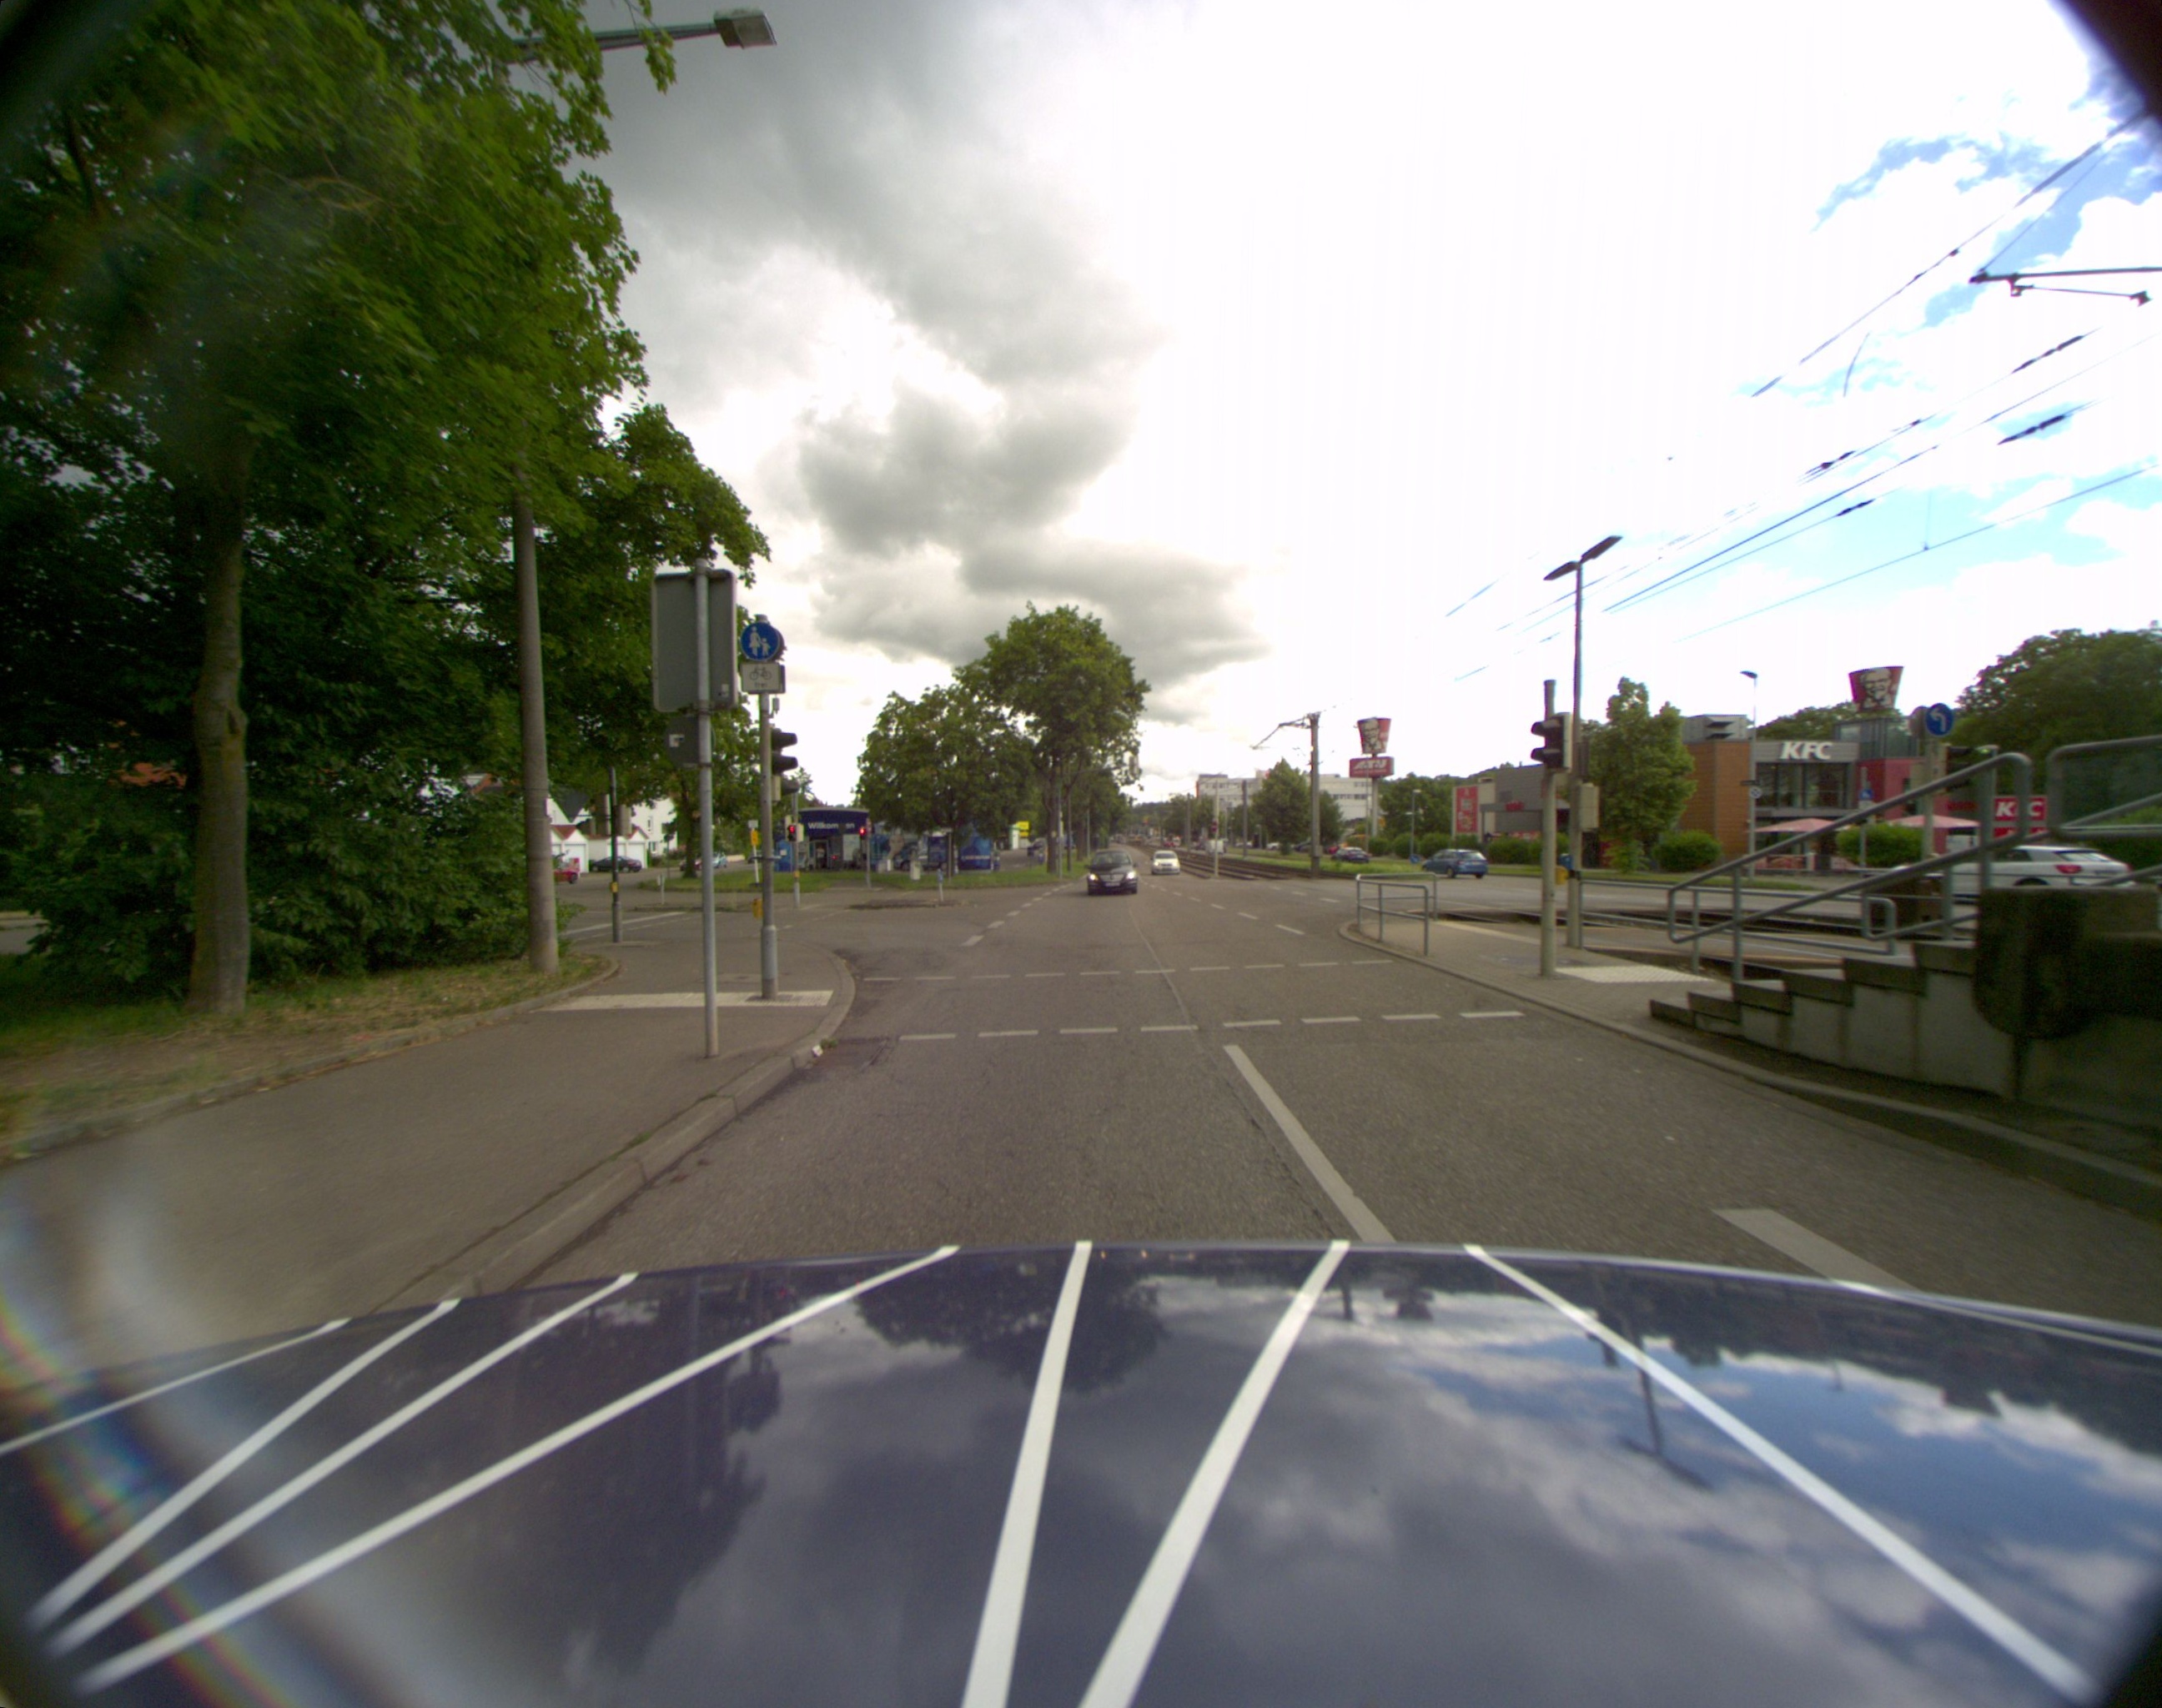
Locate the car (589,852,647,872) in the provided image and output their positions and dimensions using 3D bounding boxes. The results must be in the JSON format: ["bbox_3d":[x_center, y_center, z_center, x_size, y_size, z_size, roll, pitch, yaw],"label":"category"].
[{"bbox_3d":[-37.825,0.631,62.167,3.556,1.449,1.775,-3,2,3],"label":"car"}]

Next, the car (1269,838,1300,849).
[{"bbox_3d":[33.338,-1.746,124.386,4.481,1.498,1.795,-3,2,-1],"label":"car"}]

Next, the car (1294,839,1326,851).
[{"bbox_3d":[32.328,-1.230,107.360,3.996,1.498,1.937,-3,1,2],"label":"car"}]

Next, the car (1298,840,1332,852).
[{"bbox_3d":[31.487,-1.121,102.350,3.996,1.413,1.937,-3,1,2],"label":"car"}]

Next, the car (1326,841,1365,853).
[{"bbox_3d":[31.183,-0.802,89.663,3.996,1.229,2.000,-3,1,2],"label":"car"}]

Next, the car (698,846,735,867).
[{"bbox_3d":[-34.611,0.212,72.298,1.948,1.832,4.461,-3,1,-10],"label":"car"}]

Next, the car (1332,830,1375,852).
[{"bbox_3d":[30.298,-1.441,84.555,3.996,2.153,2.058,-3,2,2],"label":"car"}]

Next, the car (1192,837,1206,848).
[{"bbox_3d":[23.085,-2.257,148.757,1.999,2.002,4.245,0,1,-2],"label":"car"}]

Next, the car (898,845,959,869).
[{"bbox_3d":[-11.168,0.225,55.593,4.215,1.687,1.837,0,1,-17],"label":"car"}]

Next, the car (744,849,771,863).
[{"bbox_3d":[-38.128,0.201,89.673,2.000,1.456,3.996,-3,1,-9],"label":"car"}]

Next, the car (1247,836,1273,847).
[{"bbox_3d":[33.623,-2.314,142.890,4.354,1.908,2.000,-3,2,6],"label":"car"}]

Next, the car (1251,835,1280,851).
[{"bbox_3d":[32.345,-1.999,133.463,4.480,2.733,2.288,0,2,2],"label":"car"}]

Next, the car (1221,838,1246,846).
[{"bbox_3d":[30.331,-2.393,151.122,4.610,1.484,2.000,-3,1,6],"label":"car"}]

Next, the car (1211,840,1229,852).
[{"bbox_3d":[22.559,-1.312,123.449,1.999,2.002,4.105,0,1,-2],"label":"car"}]

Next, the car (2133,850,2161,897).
[{"bbox_3d":[34.246,0.579,22.211,3.885,1.400,1.848,0,1,9],"label":"car"}]

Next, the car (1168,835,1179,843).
[{"bbox_3d":[22.426,-3.658,184.474,1.999,2.002,3.998,1,1,-2],"label":"car"}]

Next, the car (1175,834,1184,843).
[{"bbox_3d":[27.078,-4.238,209.358,1.873,2.485,5.999,1,1,1],"label":"car"}]

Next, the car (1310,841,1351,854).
[{"bbox_3d":[31.150,-0.873,95.088,4.384,1.346,2.195,-3,1,2],"label":"car"}]

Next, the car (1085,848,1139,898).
[{"bbox_3d":[1.142,0.647,28.012,1.786,1.614,4.000,-3,1,2],"label":"car"}]

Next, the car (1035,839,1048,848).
[{"bbox_3d":[-7.526,-2.040,143.818,1.998,1.629,4.326,2,2,3],"label":"car"}]

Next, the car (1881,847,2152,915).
[{"bbox_3d":[23.020,0.589,18.989,1.690,1.437,3.998,1,1,-3],"label":"car"}]

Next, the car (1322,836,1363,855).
[{"bbox_3d":[29.965,-0.994,87.275,3.996,1.907,2.000,-3,2,2],"label":"car"}]

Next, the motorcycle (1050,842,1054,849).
[{"bbox_3d":[-5.334,-1.603,138.164,0.704,1.180,2.387,0,1,-4],"label":"motorcycle"}]

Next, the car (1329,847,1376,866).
[{"bbox_3d":[21.770,0.189,61.126,1.999,1.473,4.505,1,0,-1],"label":"car"}]

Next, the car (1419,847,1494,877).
[{"bbox_3d":[19.133,0.375,38.950,1.599,1.438,4.051,1,1,-4],"label":"car"}]

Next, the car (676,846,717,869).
[{"bbox_3d":[-33.647,0.275,66.645,1.948,1.832,4.247,-3,1,-10],"label":"car"}]

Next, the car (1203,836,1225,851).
[{"bbox_3d":[18.719,-1.506,107.067,1.999,2.002,4.883,0,1,-3],"label":"car"}]

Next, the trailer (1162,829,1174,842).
[{"bbox_3d":[27.779,-5.848,243.364,2.677,3.875,14.424,1,1,2],"label":"trailer"}]

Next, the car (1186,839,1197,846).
[{"bbox_3d":[25.180,-2.671,172.555,1.998,1.474,3.999,2,1,2],"label":"car"}]

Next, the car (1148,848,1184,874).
[{"bbox_3d":[5.362,0.410,48.321,1.786,1.436,3.999,-3,1,1],"label":"car"}]

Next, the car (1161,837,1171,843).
[{"bbox_3d":[22.005,-3.679,196.174,1.788,1.573,4.480,1,1,-2],"label":"car"}]
